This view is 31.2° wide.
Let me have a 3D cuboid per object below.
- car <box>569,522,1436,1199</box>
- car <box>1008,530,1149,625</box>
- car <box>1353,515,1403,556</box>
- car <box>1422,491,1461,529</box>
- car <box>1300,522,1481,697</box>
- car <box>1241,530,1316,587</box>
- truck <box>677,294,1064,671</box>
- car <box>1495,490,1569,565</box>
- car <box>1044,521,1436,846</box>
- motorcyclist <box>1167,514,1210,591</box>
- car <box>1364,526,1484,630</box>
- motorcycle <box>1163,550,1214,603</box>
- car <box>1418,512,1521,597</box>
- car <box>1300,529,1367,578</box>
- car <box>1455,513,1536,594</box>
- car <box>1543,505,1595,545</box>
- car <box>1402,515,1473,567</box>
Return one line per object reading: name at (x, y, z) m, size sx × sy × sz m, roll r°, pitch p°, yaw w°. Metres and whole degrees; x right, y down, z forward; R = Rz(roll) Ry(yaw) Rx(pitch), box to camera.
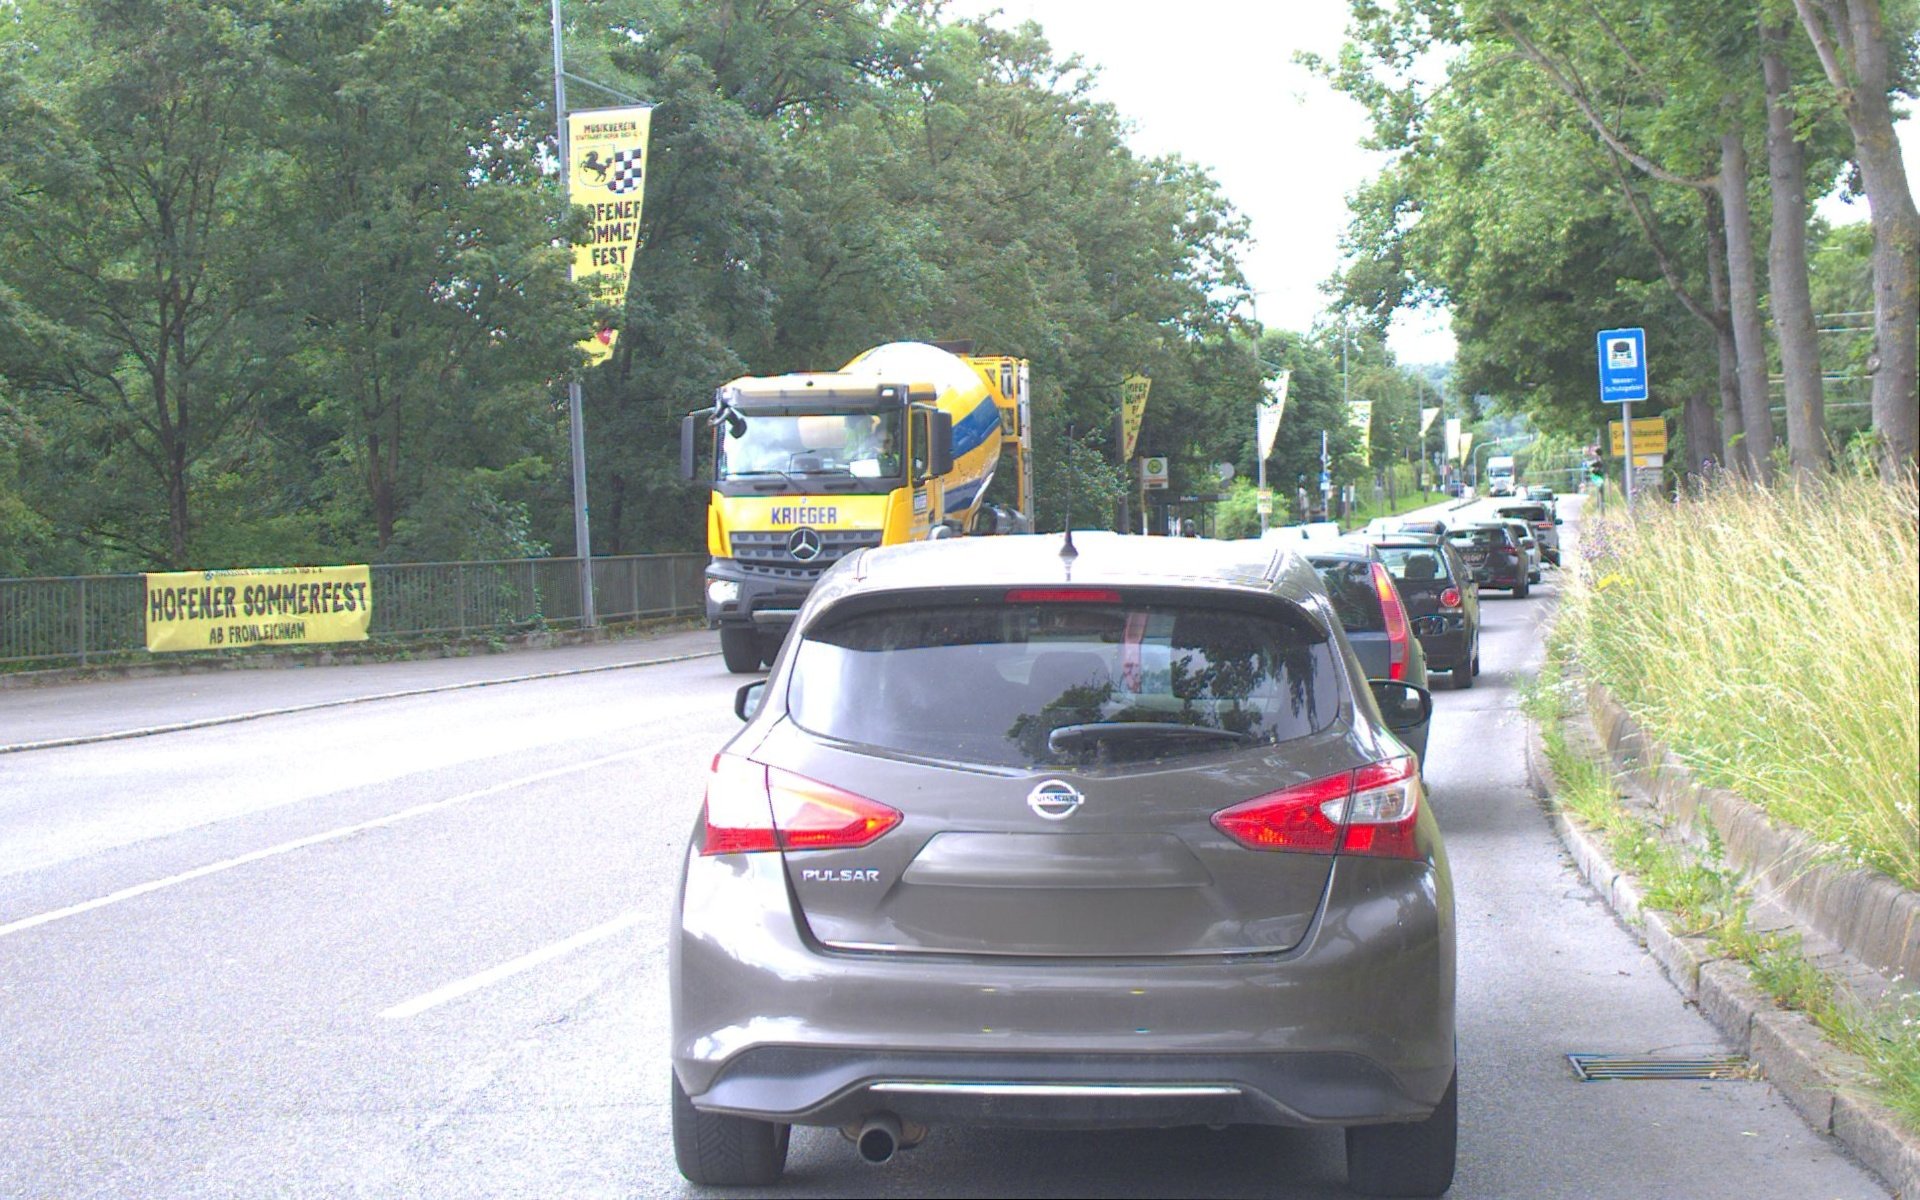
car at (0.243, 0.586, 9.039) m, size 1.775 × 1.489 × 3.999 m, roll 0°, pitch 0°, yaw 5°
car at (1.978, -0.392, 56.304) m, size 1.767 × 1.474 × 3.999 m, roll 0°, pitch 1°, yaw 10°
car at (16.522, -2.536, 135.651) m, size 1.753 × 1.415 × 3.998 m, roll -2°, pitch -1°, yaw 9°
car at (23.829, -4.456, 170.071) m, size 1.719 × 1.687 × 3.724 m, roll -2°, pitch -1°, yaw 10°
car at (4.130, 0.068, 33.189) m, size 1.578 × 1.533 × 3.999 m, roll -2°, pitch 0°, yaw 7°
car at (8.909, -1.130, 95.850) m, size 1.722 × 1.437 × 3.998 m, roll -2°, pitch -1°, yaw 10°
truck at (-0.803, -1.318, 41.078) m, size 2.656 × 3.925 × 10.107 m, roll 0°, pitch 1°, yaw 10°
car at (15.935, -2.021, 95.661) m, size 1.891 × 2.007 × 3.998 m, roll -1°, pitch 1°, yaw 11°
car at (1.479, 0.410, 18.766) m, size 1.893 × 1.568 × 3.999 m, roll -1°, pitch 0°, yaw 3°
motorcyclist at (4.626, -0.956, 69.514) m, size 0.745 × 1.533 × 0.790 m, roll -1°, pitch 1°, yaw 12°
car at (6.565, -0.318, 48.464) m, size 1.501 × 1.360 × 3.586 m, roll -2°, pitch 0°, yaw 10°
motorcycle at (4.625, -0.477, 69.460) m, size 0.745 × 1.030 × 1.887 m, roll -1°, pitch 1°, yaw 12°
car at (9.643, -0.849, 64.905) m, size 1.805 × 1.535 × 3.998 m, roll 0°, pitch 0°, yaw 10°
car at (11.838, -1.472, 108.773) m, size 1.818 × 1.457 × 3.999 m, roll -2°, pitch 1°, yaw 10°
car at (12.296, -1.042, 78.822) m, size 1.719 × 1.687 × 3.998 m, roll -2°, pitch -1°, yaw 10°
car at (23.170, -2.854, 130.678) m, size 1.891 × 1.440 × 3.805 m, roll -1°, pitch 1°, yaw 11°
car at (14.607, -1.788, 105.051) m, size 1.852 × 1.481 × 4.418 m, roll -1°, pitch 0°, yaw 11°
